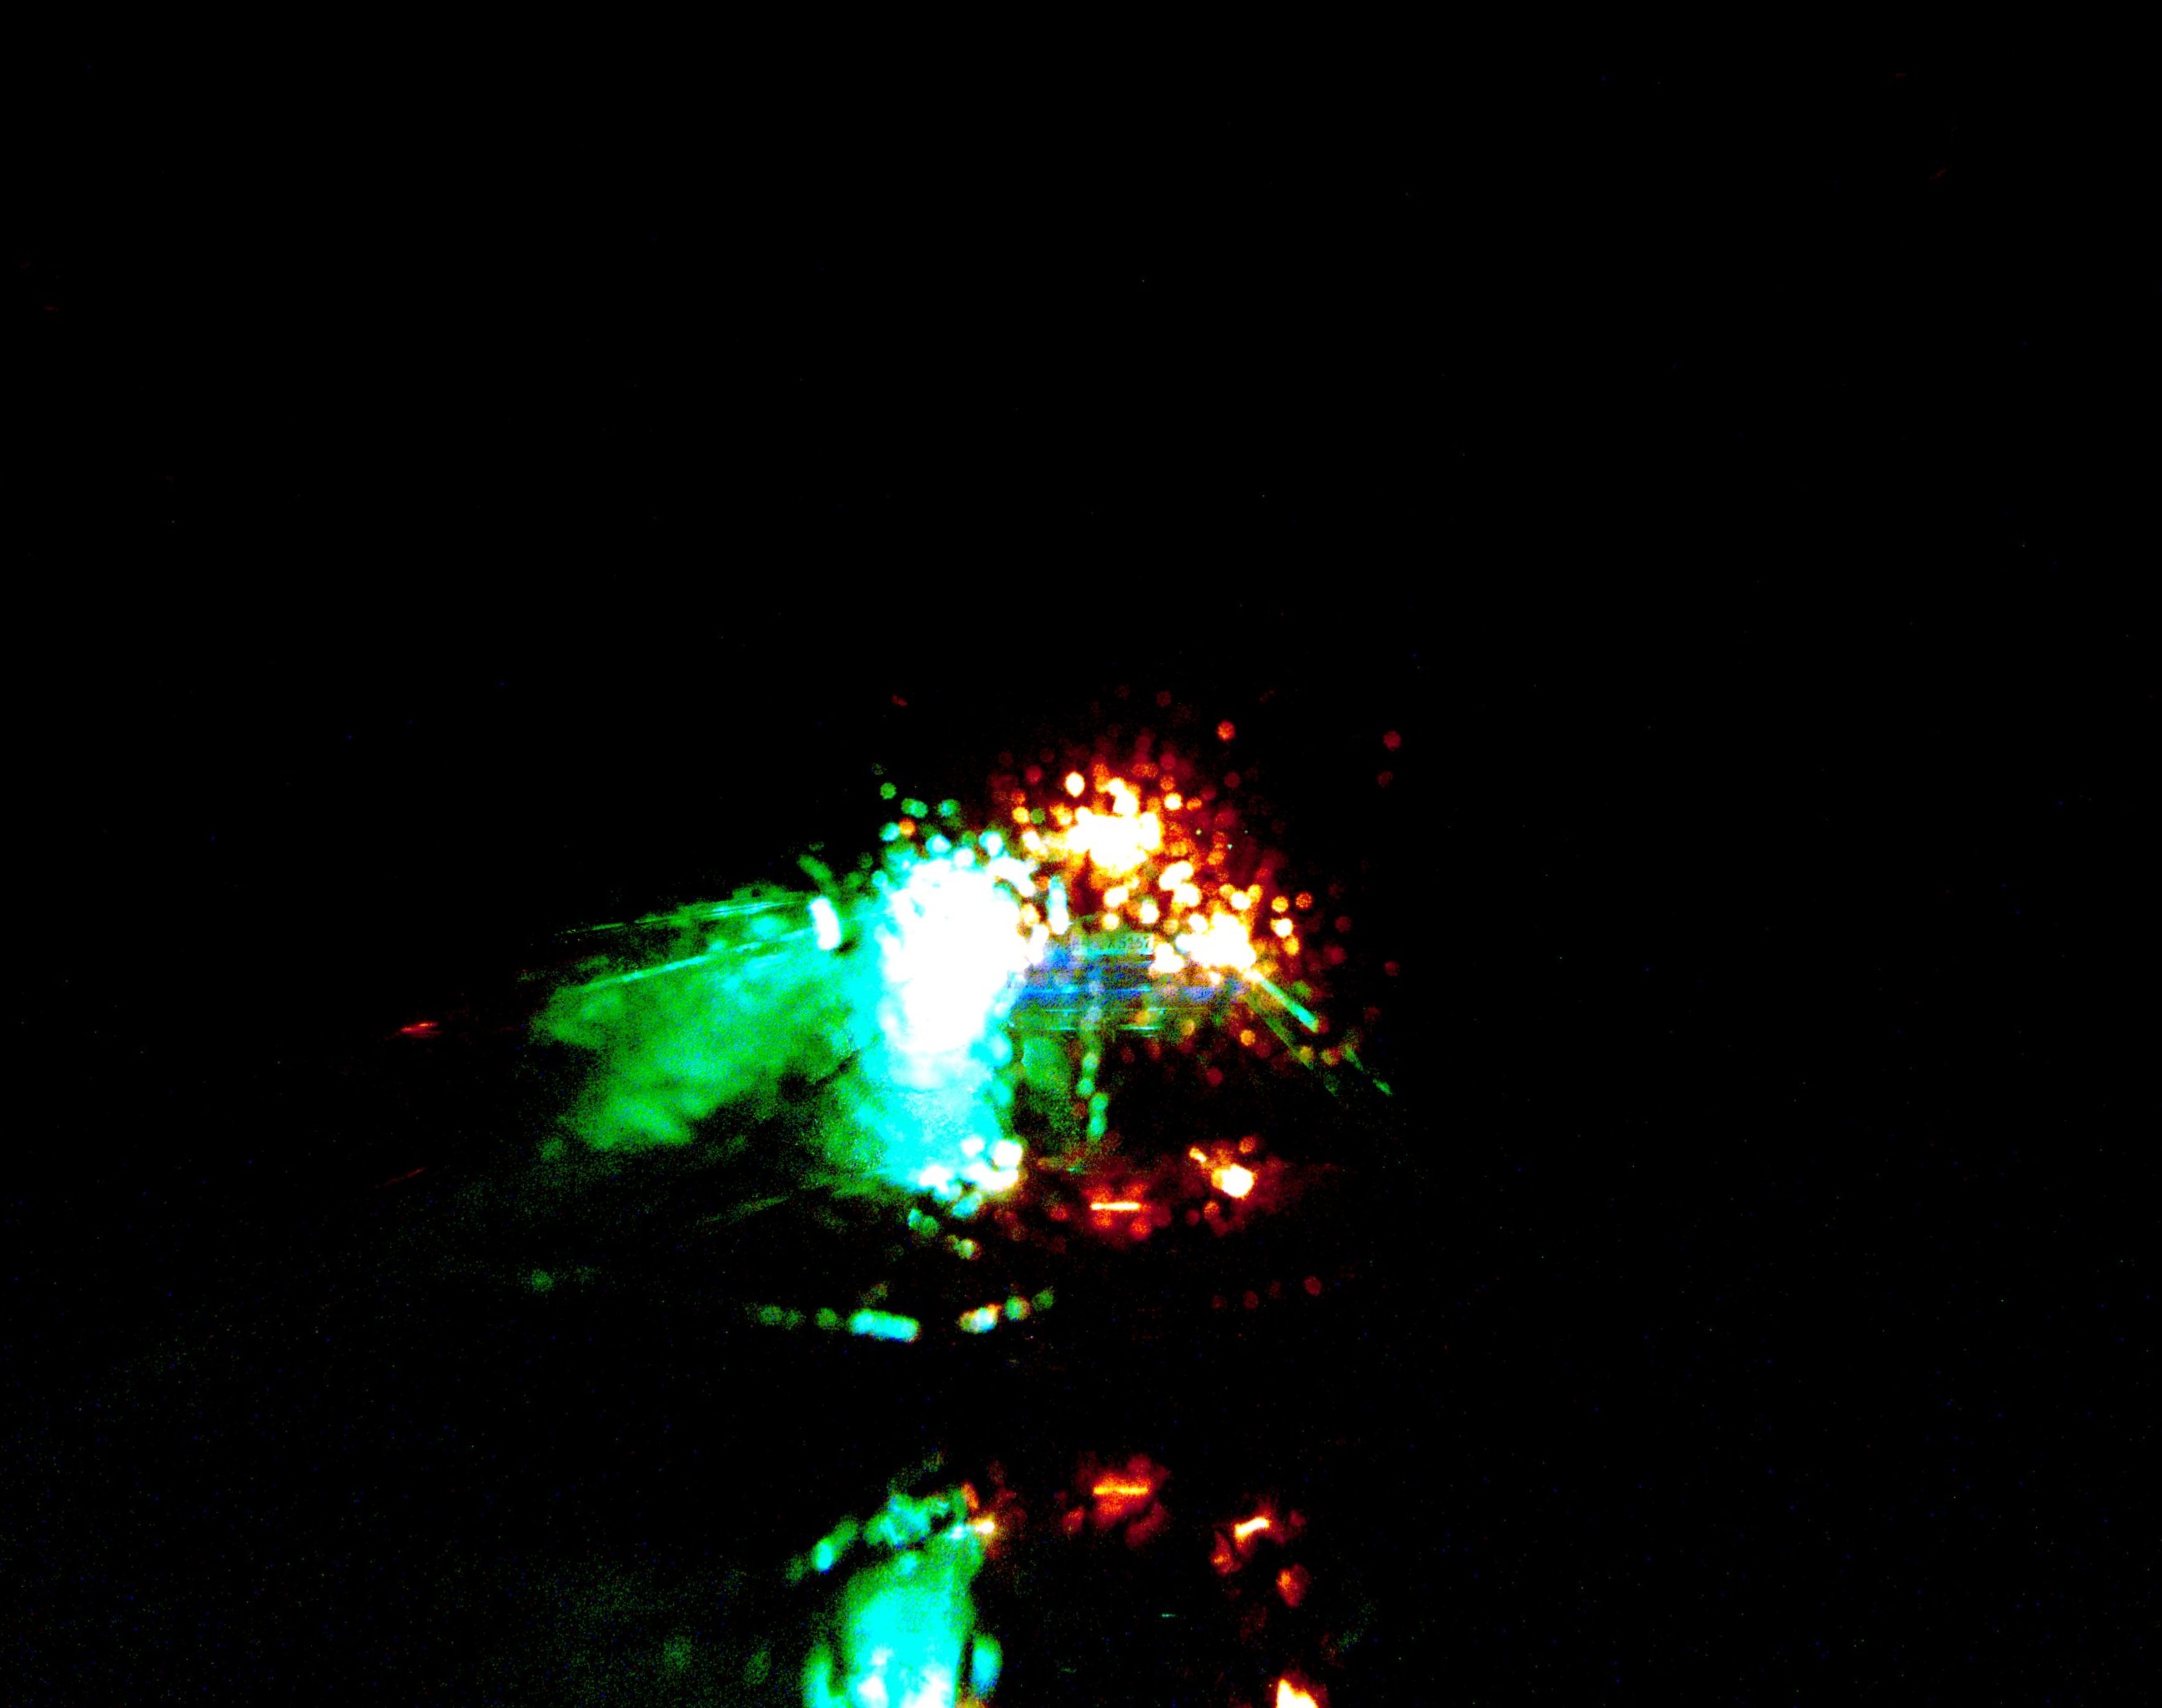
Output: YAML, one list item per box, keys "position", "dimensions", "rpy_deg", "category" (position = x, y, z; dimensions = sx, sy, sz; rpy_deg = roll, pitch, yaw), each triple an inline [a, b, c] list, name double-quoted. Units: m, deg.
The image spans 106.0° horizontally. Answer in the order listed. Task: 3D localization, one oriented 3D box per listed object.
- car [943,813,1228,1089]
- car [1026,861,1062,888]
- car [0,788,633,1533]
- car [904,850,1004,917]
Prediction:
- position: [0.107, 0.622, 7.110]
  dimensions: [1.768, 1.712, 4.002]
  rpy_deg: [-1, 0, 2]
  category: "car"
- position: [-2.161, 1.210, 48.819]
  dimensions: [1.897, 1.470, 4.275]
  rpy_deg: [1, 0, 1]
  category: "car"
- position: [-3.395, 0.712, 2.260]
  dimensions: [1.945, 1.656, 4.124]
  rpy_deg: [-2, 0, 0]
  category: "car"
- position: [-3.141, 0.672, 21.058]
  dimensions: [1.831, 1.546, 4.258]
  rpy_deg: [0, 0, 1]
  category: "car"
